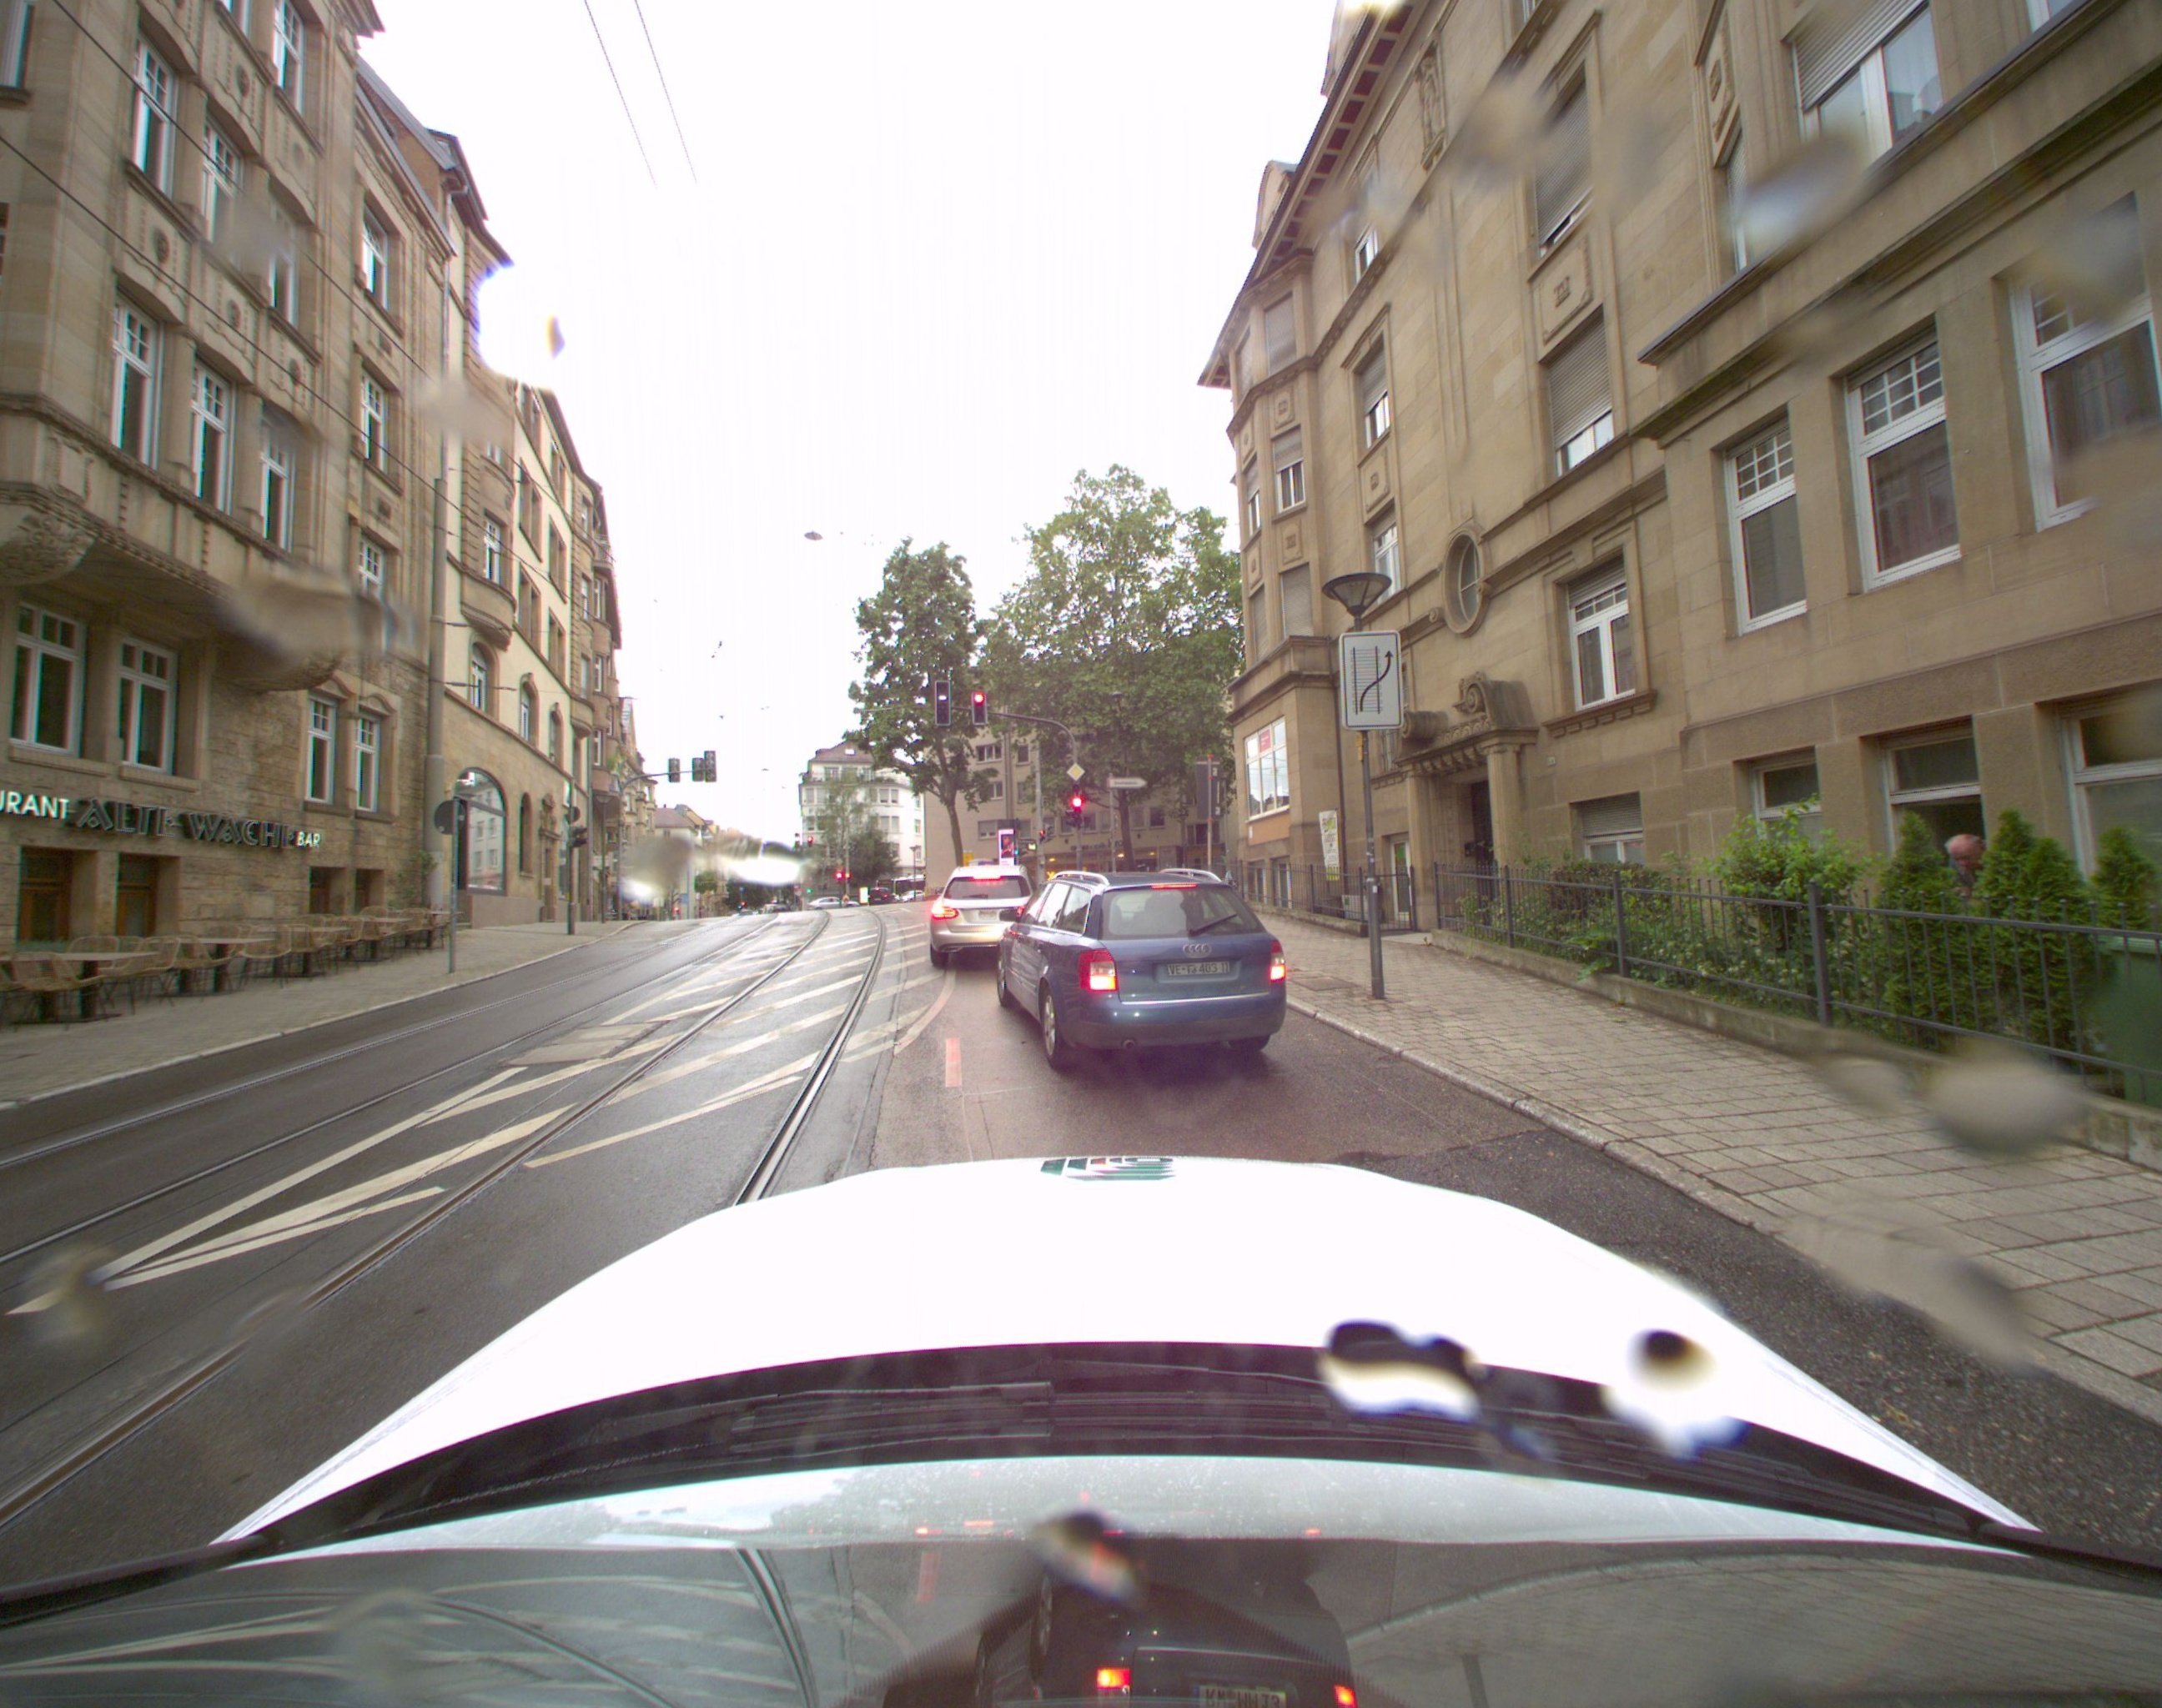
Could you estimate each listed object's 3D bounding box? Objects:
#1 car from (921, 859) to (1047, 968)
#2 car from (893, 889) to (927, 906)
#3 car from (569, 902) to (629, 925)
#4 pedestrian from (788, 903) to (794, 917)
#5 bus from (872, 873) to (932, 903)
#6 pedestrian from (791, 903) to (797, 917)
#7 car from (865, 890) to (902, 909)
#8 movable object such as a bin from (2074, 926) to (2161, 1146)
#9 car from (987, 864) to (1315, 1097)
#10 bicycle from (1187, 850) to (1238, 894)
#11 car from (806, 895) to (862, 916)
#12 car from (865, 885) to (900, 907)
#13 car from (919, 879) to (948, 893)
[{"bbox_3d":[-1.501,0.833,13.103,1.708,1.456,3.546,-1,0,-5],"label":"car"},{"bbox_3d":[-18.659,4.736,89.083,1.779,1.510,4.020,-3,0,20],"label":"car"},{"bbox_3d":[-38.880,4.787,65.777,4.008,1.510,1.785,-2,0,-26],"label":"car"},{"bbox_3d":[-36.826,7.138,103.519,0.650,1.661,0.646,-1,-1,-18],"label":"pedestrian"},{"bbox_3d":[-20.708,3.898,94.919,2.832,2.861,8.771,-3,0,16],"label":"bus"},{"bbox_3d":[-35.680,6.999,101.157,0.650,1.661,0.646,-1,-1,-18],"label":"pedestrian"},{"bbox_3d":[-20.328,4.645,84.032,1.779,1.614,4.020,-3,0,20],"label":"car"},{"bbox_3d":[5.401,0.882,3.919,0.537,1.026,0.602,2,-2,-10],"label":"movable object such as a bin"},{"bbox_3d":[0.284,0.831,7.356,1.713,1.415,4.016,-1,0,-14],"label":"car"},{"bbox_3d":[3.841,0.516,23.777,1.300,1.173,0.524,-4,0,-11],"label":"bicycle"},{"bbox_3d":[-22.424,4.653,73.958,4.670,1.510,1.786,-3,0,-23],"label":"car"},{"bbox_3d":[-16.676,3.543,68.607,1.788,1.510,4.000,-5,0,1],"label":"car"},{"bbox_3d":[-18.564,4.052,102.675,1.779,1.510,4.020,-3,0,20],"label":"car"}]
